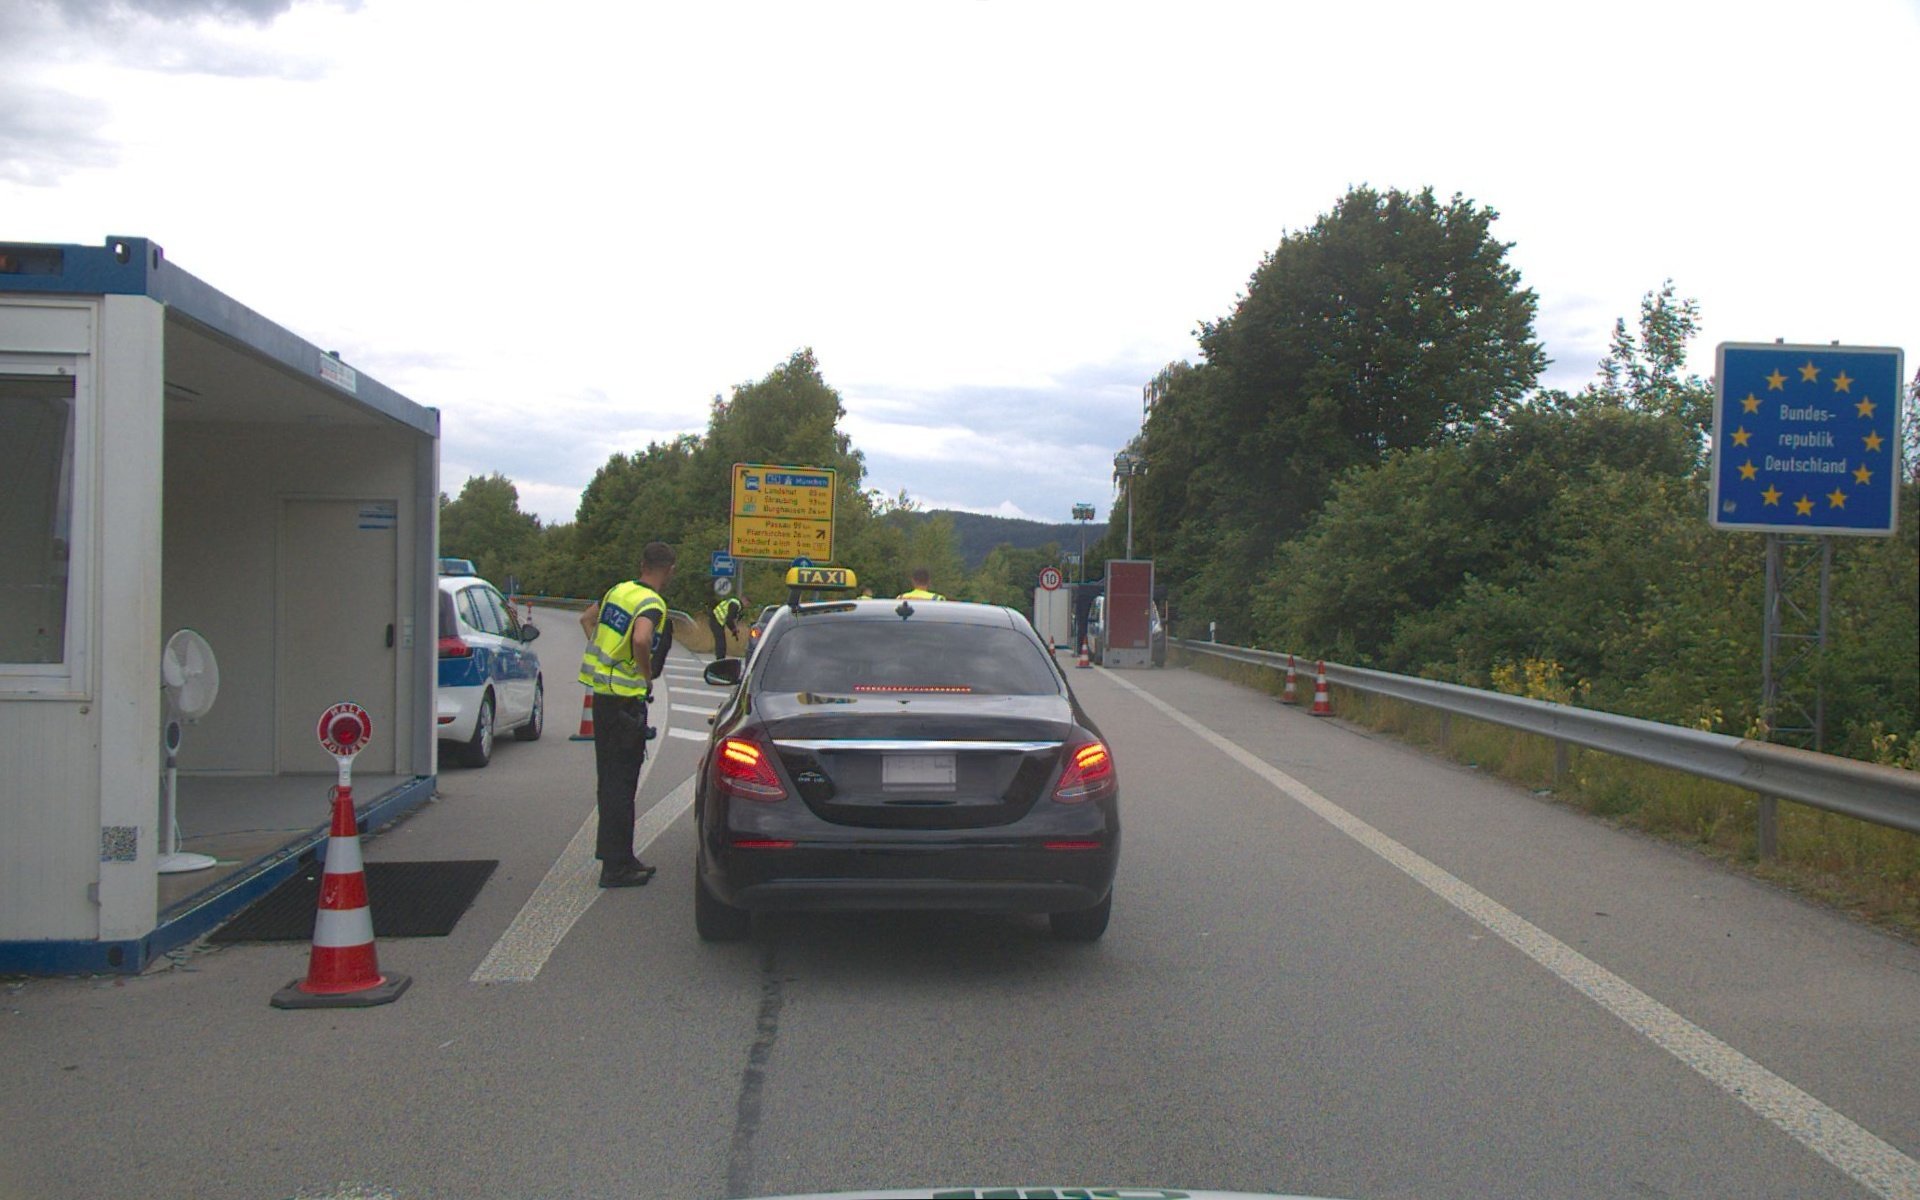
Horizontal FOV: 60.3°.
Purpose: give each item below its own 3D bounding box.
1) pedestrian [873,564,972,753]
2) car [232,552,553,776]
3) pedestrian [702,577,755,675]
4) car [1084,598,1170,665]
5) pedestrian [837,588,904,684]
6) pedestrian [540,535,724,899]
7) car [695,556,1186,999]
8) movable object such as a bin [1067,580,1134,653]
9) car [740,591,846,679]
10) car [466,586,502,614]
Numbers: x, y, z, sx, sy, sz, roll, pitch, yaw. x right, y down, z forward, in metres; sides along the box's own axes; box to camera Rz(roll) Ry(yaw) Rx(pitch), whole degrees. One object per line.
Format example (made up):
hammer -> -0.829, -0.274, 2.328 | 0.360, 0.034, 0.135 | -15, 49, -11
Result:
pedestrian -> -0.372, 0.578, 16.853 | 0.795, 1.862, 0.810 | 0, 0, 16
car -> -5.013, 0.509, 15.207 | 1.832, 1.774, 4.004 | 1, 0, -5
pedestrian -> -4.337, 0.474, 31.023 | 0.893, 1.800, 0.911 | 1, 0, -4
car -> 4.615, 0.829, 46.286 | 1.877, 1.707, 5.083 | 3, 0, 1
pedestrian -> -1.644, 0.645, 30.314 | 0.900, 1.727, 0.903 | 1, -1, -33
pedestrian -> -1.687, 0.564, 8.448 | 0.803, 1.748, 0.758 | 0, 0, -21
car -> -0.265, 0.654, 8.330 | 1.819, 1.623, 4.370 | 1, 0, -6
movable object such as a bin -> 4.628, 0.521, 55.131 | 1.952, 2.320, 4.168 | 1, 0, 1
car -> -3.077, 0.619, 31.142 | 1.818, 1.524, 4.253 | 1, 0, -4
car -> -26.686, -0.008, 92.793 | 1.825, 1.524, 4.239 | 1, 0, -15
